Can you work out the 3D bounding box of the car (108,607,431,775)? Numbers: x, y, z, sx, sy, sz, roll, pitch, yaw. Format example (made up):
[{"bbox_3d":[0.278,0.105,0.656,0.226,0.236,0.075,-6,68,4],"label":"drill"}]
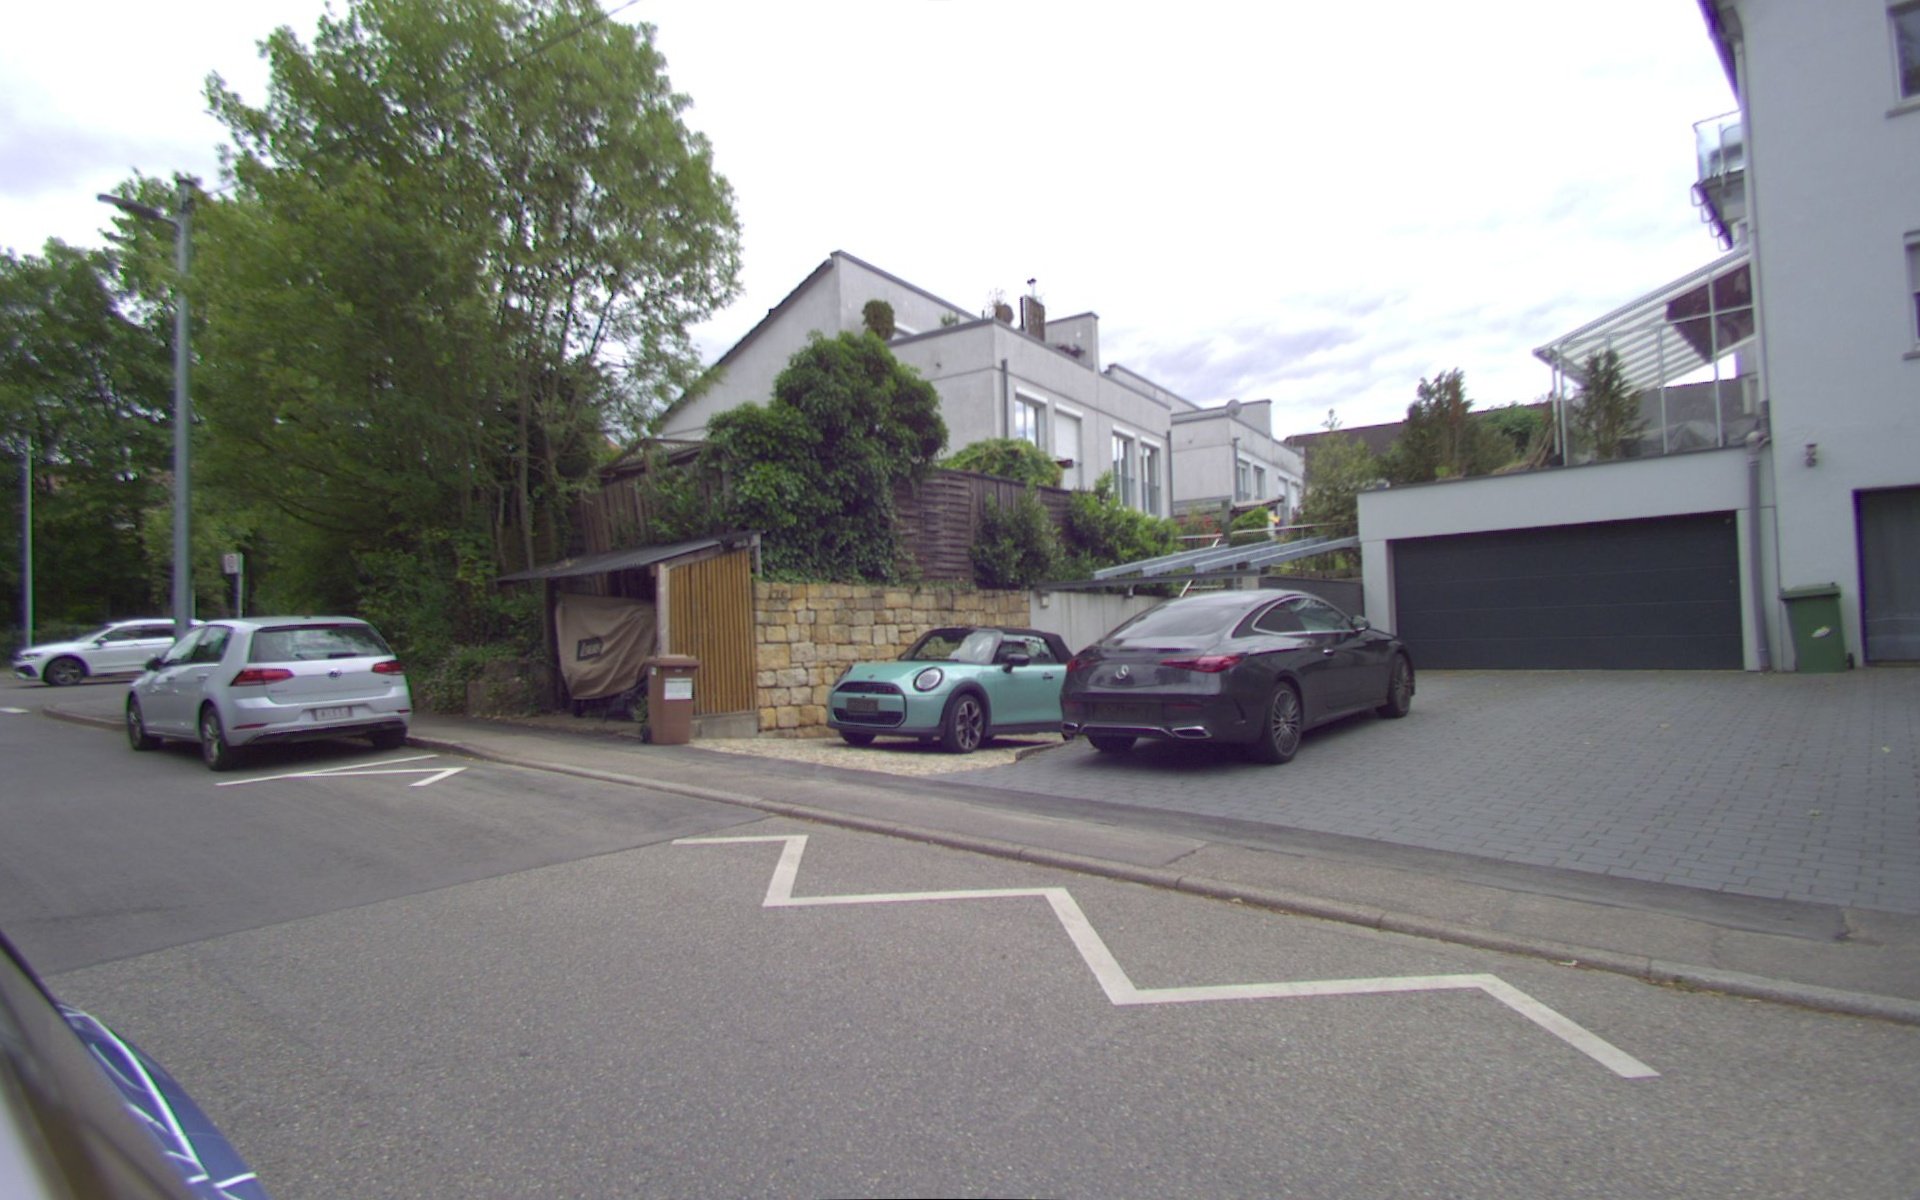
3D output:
[{"bbox_3d":[-7.568,0.856,10.960,4.038,1.460,1.743,-2,0,38],"label":"car"}]

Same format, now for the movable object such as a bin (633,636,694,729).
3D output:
[{"bbox_3d":[-3.084,0.846,10.527,0.556,0.931,0.362,-2,-4,45],"label":"movable object such as a bin"}]

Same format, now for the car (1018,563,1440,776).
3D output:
[{"bbox_3d":[2.748,0.468,9.523,1.890,1.397,4.556,-3,1,43],"label":"car"}]

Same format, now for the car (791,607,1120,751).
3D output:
[{"bbox_3d":[0.107,0.944,11.995,1.821,1.397,3.914,-3,-6,39],"label":"car"}]

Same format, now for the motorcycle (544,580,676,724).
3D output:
[{"bbox_3d":[-4.152,0.588,11.934,1.910,1.594,0.478,-2,0,38],"label":"motorcycle"}]

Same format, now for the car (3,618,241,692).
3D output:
[{"bbox_3d":[-22.370,1.393,27.185,1.998,1.701,4.648,-2,0,40],"label":"car"}]

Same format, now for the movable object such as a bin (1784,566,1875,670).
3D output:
[{"bbox_3d":[10.367,0.221,12.081,0.768,1.195,0.717,-2,-2,41],"label":"movable object such as a bin"}]
